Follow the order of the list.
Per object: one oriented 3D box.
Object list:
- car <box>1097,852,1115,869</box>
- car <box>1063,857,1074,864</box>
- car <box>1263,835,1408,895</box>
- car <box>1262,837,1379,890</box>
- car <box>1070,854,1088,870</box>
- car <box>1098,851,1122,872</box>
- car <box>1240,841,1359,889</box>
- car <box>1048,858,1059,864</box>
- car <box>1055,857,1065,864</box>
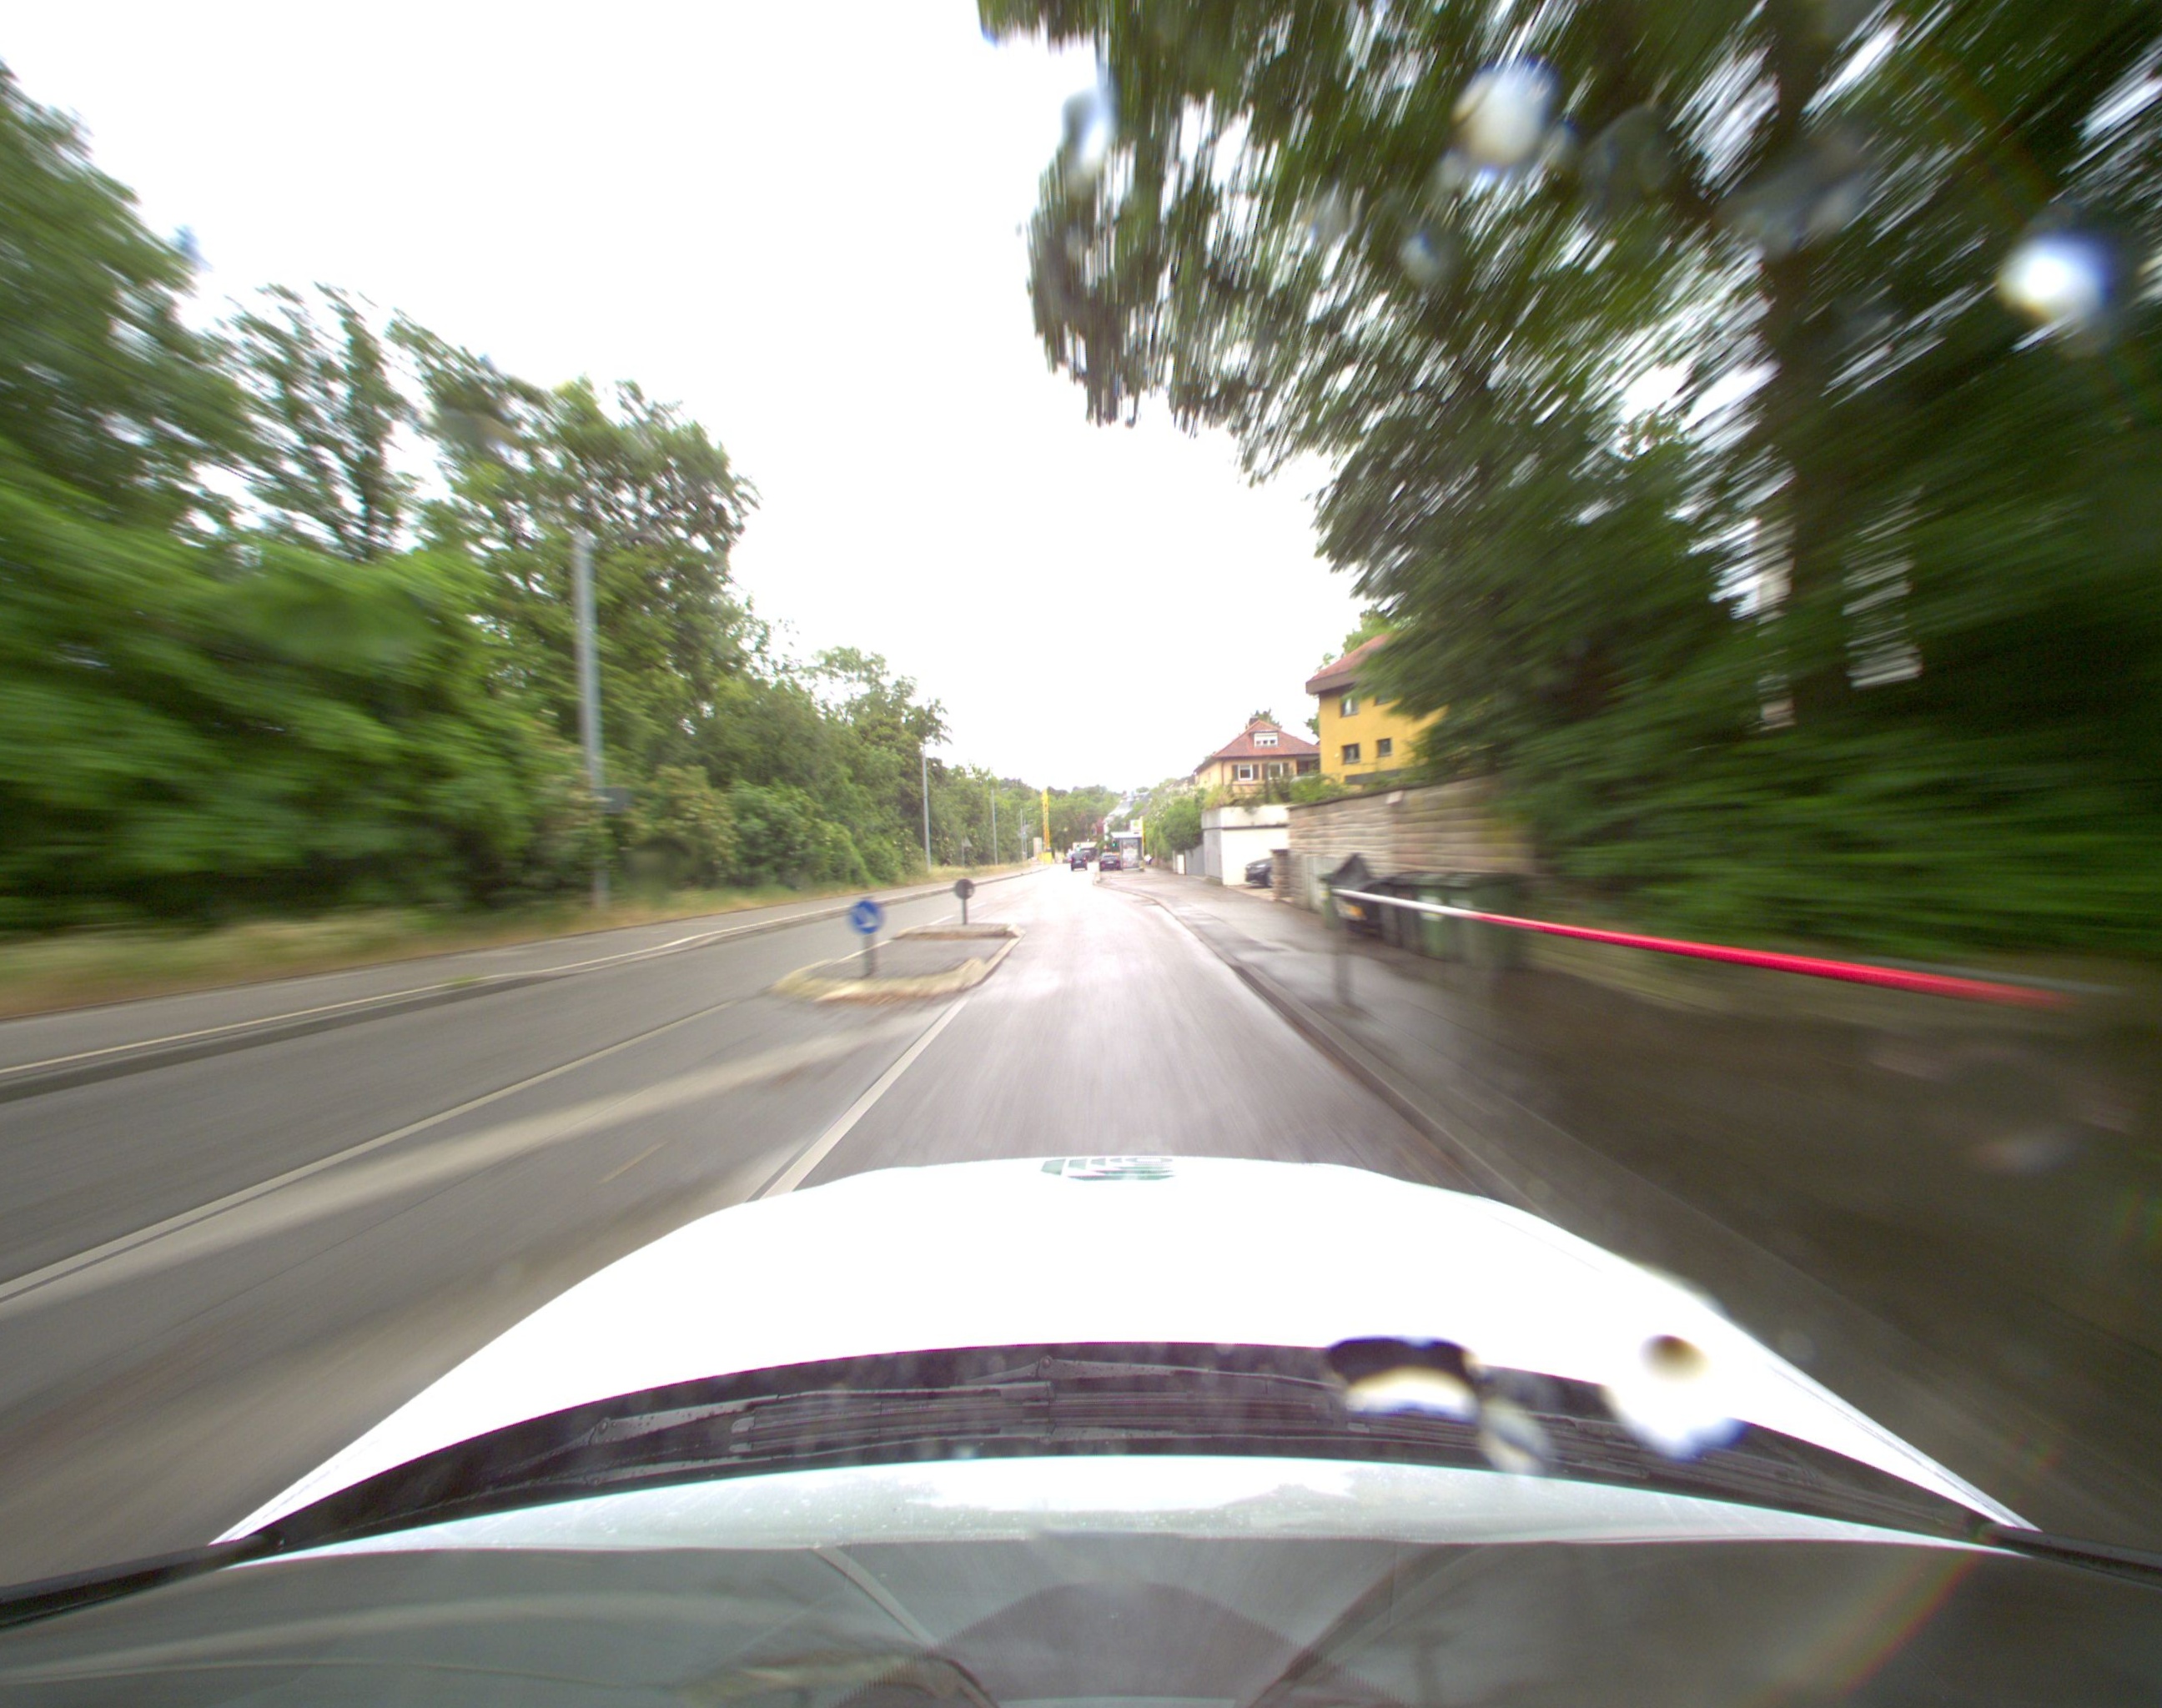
[{"bbox_3d":[2.826,0.717,91.650,1.986,1.772,4.116,-1,-1,2],"label":"car"},{"bbox_3d":[-2.727,1.426,175.777,1.741,1.552,3.840,-1,-1,-12],"label":"car"},{"bbox_3d":[7.416,0.329,23.949,3.718,1.629,1.700,-1,-1,0],"label":"car"},{"bbox_3d":[7.708,0.297,26.419,3.273,1.480,1.576,-3,0,0],"label":"car"},{"bbox_3d":[-0.214,0.856,84.495,1.661,1.594,3.684,-1,-1,2],"label":"car"},{"bbox_3d":[2.525,0.643,70.458,1.986,1.772,4.116,-1,-1,2],"label":"car"},{"bbox_3d":[7.670,0.378,28.757,3.757,1.552,1.609,-1,-1,0],"label":"car"},{"bbox_3d":[-6.299,1.619,187.474,1.741,1.552,3.840,-1,-1,-12],"label":"car"},{"bbox_3d":[-4.679,1.357,181.818,1.741,1.552,3.840,0,-1,-12],"label":"car"}]
